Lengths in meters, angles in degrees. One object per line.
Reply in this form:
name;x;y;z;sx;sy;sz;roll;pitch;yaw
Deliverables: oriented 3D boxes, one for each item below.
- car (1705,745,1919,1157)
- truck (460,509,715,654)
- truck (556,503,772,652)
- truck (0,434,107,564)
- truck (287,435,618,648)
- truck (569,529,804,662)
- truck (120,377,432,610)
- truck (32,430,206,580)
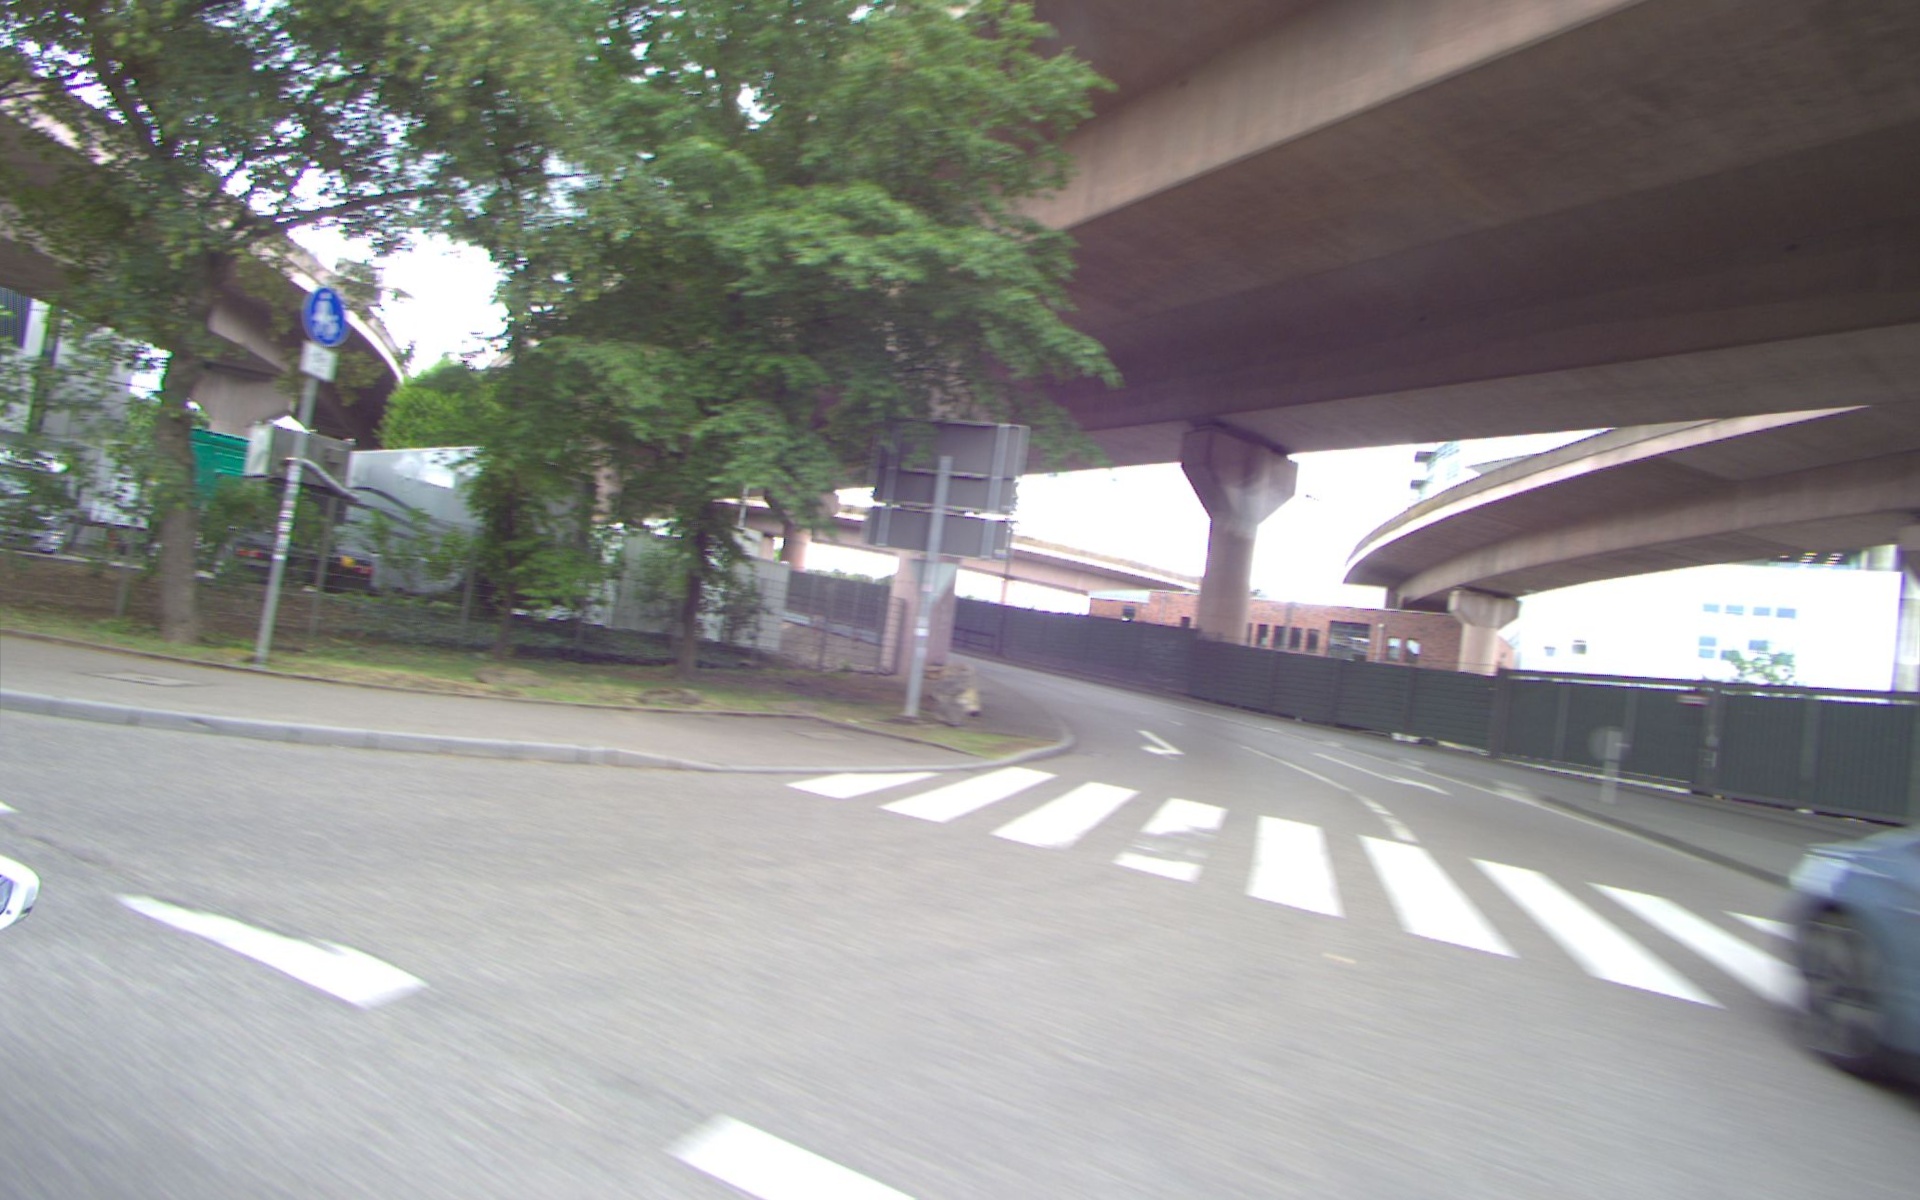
car;4.718;1.501;3.020;2.132;1.518;4.940;7;-3;14
truck;-10.058;-0.544;26.980;6.452;2.933;2.919;8;-1;34
truck;-10.910;-0.914;36.639;7.928;4.350;3.066;8;-1;39
truck;-32.477;-3.629;33.965;7.784;3.661;3.062;8;-1;32
truck;-12.035;-1.470;23.543;7.918;3.913;3.070;8;-1;34
truck;-8.156;-0.172;29.764;6.452;2.933;2.919;8;-1;34
truck;-14.907;-2.309;21.750;6.815;4.009;3.068;8;-1;36
truck;-32.356;-3.707;38.572;7.929;4.836;3.203;8;-1;39
